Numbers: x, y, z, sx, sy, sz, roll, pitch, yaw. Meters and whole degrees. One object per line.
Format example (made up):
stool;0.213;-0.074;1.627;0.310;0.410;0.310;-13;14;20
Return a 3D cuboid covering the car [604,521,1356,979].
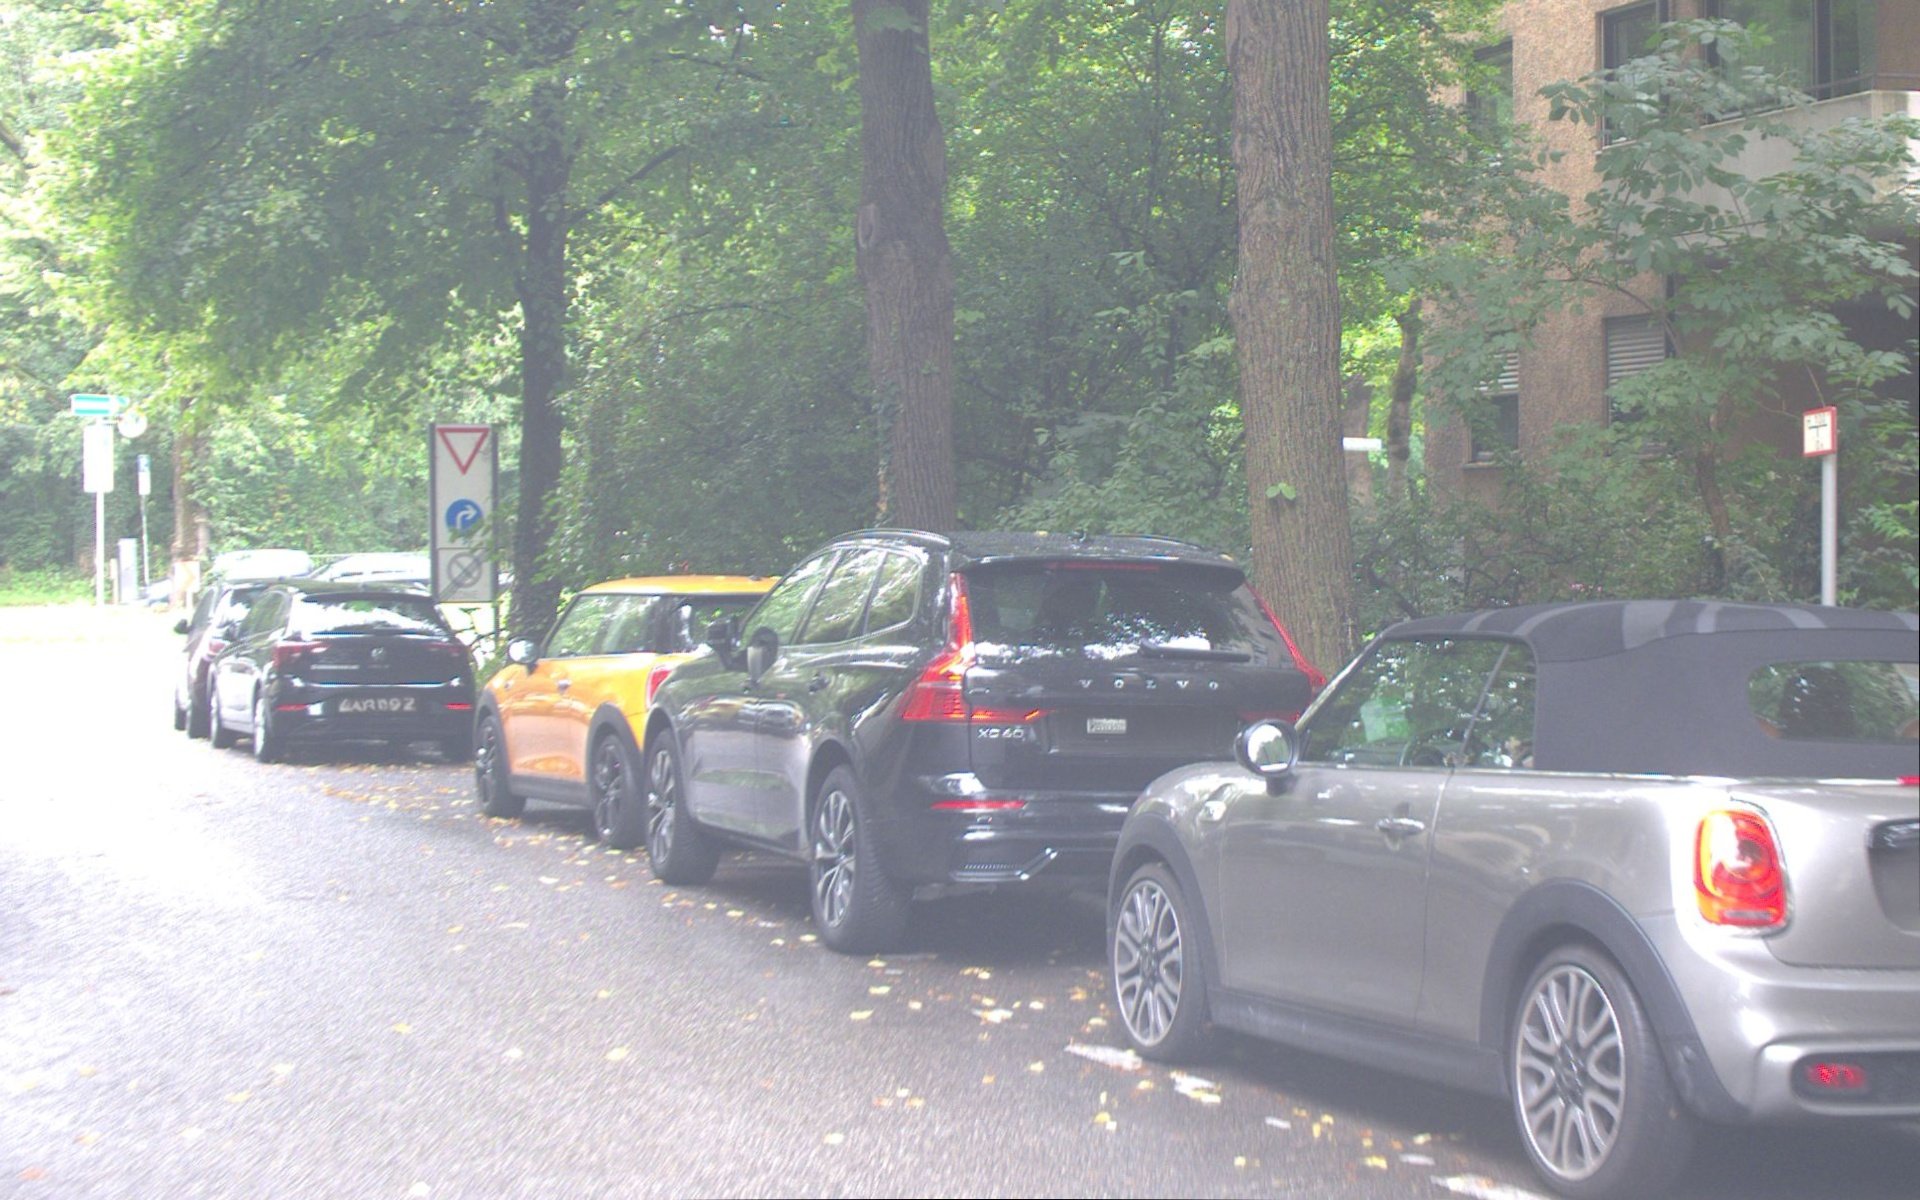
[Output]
car;-0.116;0.486;14.663;1.831;1.623;4.527;-1;1;-19

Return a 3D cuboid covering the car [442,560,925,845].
car;-1.663;0.494;19.447;1.618;1.407;3.781;-1;1;-23

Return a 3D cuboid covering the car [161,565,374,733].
car;-6.625;0.414;32.661;1.647;1.469;3.644;-1;1;-17

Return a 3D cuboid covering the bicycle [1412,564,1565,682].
bicycle;4.887;0.197;31.898;0.554;1.040;1.837;-1;1;-21

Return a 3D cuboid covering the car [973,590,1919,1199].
car;1.704;0.717;9.916;1.898;1.408;4.431;-2;1;-20

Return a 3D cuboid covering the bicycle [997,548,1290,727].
bicycle;1.181;0.223;22.027;1.829;1.080;0.547;-1;1;-27

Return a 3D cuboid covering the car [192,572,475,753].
car;-5.282;0.465;28.621;1.681;1.353;4.010;0;1;-20

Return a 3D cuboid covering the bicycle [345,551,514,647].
bicycle;-5.634;-0.015;36.507;1.751;0.978;0.273;-1;1;-10
